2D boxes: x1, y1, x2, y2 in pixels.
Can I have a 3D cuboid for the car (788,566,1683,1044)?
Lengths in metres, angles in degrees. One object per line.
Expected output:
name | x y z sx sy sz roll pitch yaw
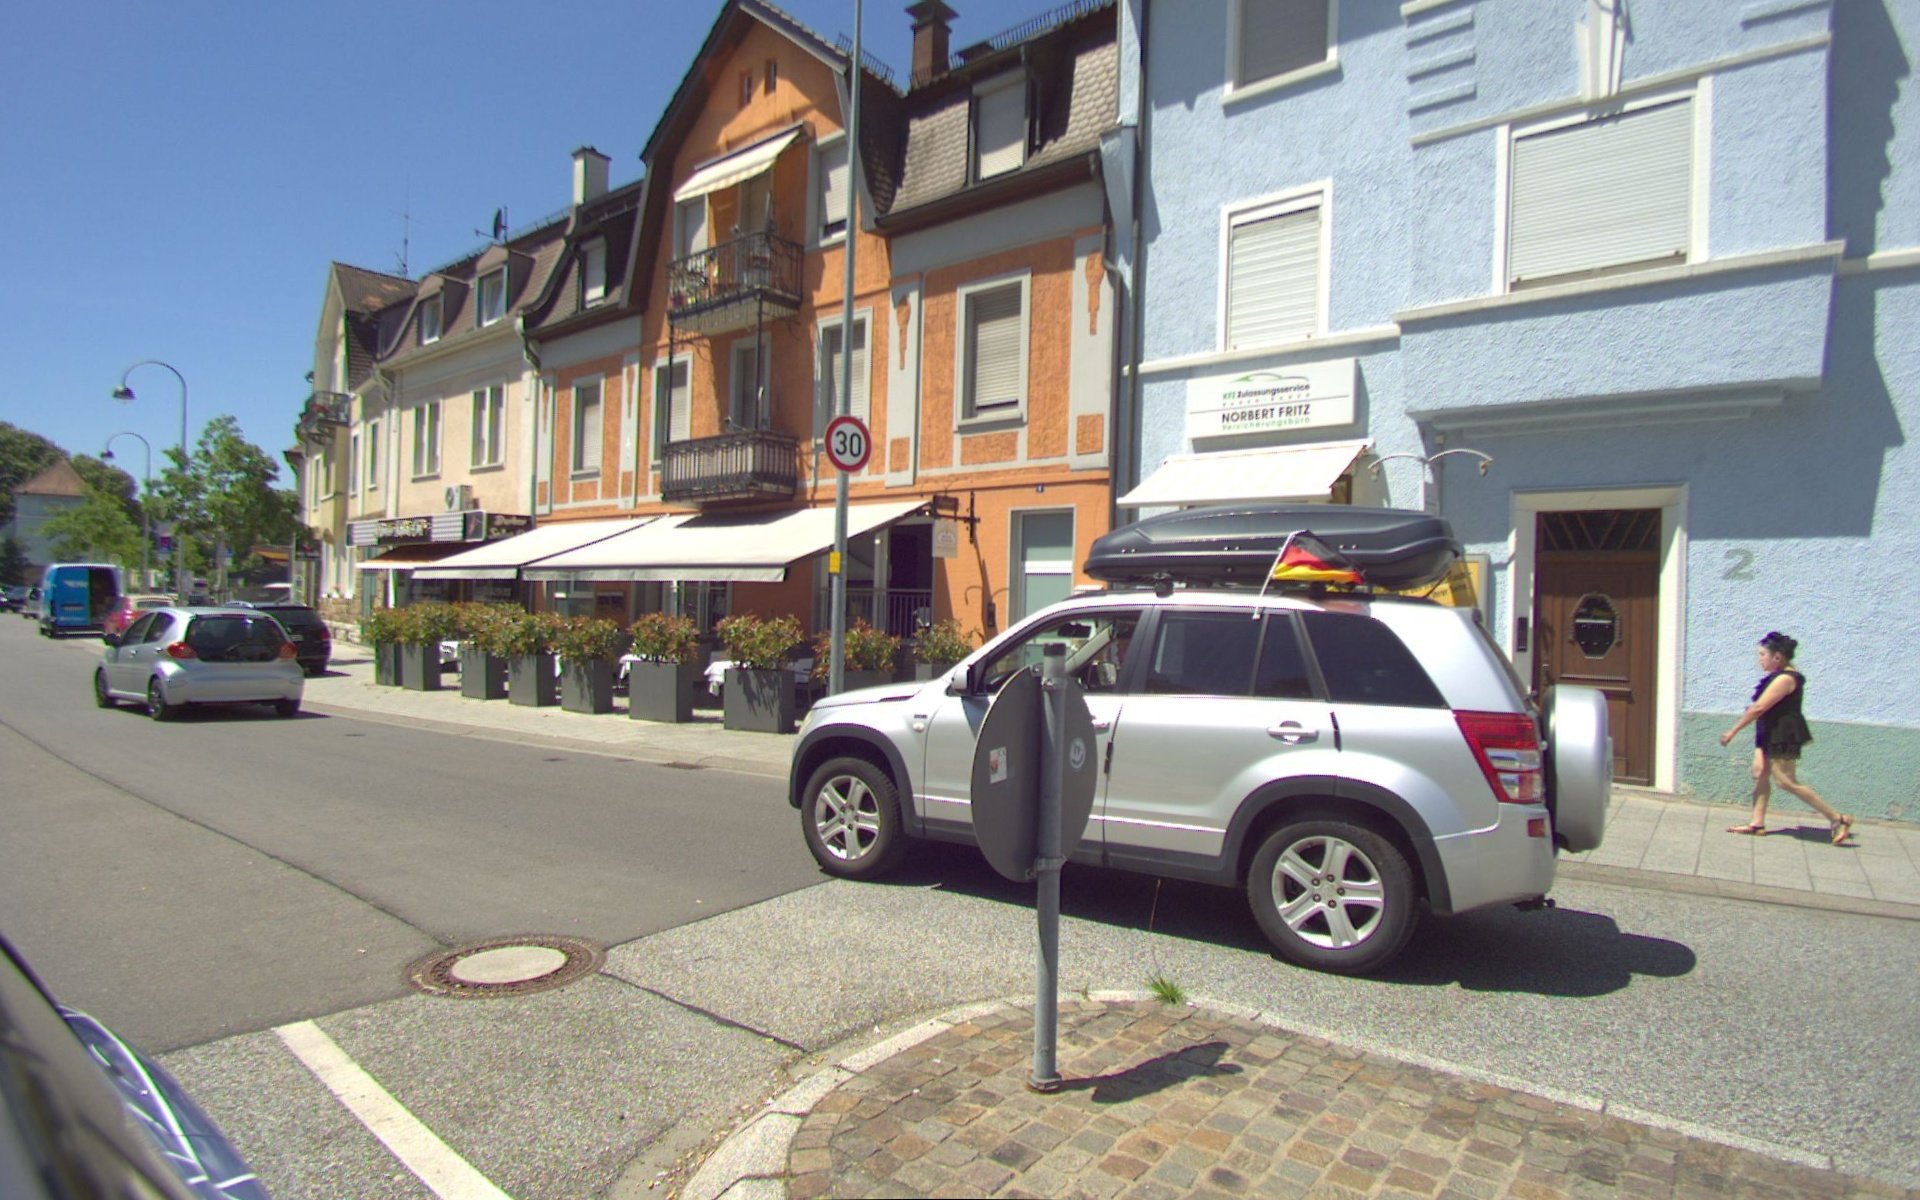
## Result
car | 1.280 0.761 5.515 4.187 1.701 1.818 0 -3 32

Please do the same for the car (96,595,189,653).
car | -24.079 0.669 29.761 3.514 1.532 1.543 2 0 41

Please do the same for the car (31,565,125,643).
car | -30.842 0.111 35.325 5.505 2.517 2.068 0 0 44

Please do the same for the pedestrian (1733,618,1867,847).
pedestrian | 6.125 0.941 7.396 0.507 1.597 0.547 2 -2 -7

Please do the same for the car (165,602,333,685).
car | -14.811 0.814 20.992 4.336 1.493 1.895 0 1 41

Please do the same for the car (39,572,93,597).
car | -57.666 -0.993 65.360 1.889 1.437 3.991 2 -2 -31

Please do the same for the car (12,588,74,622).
car | -54.603 0.313 60.331 1.966 1.836 4.428 3 -2 -33

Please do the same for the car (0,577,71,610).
car | -84.581 -0.610 92.370 4.787 2.757 1.856 3 -1 -30

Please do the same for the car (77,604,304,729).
car | -10.713 0.850 14.028 3.464 1.461 1.561 1 -2 37
